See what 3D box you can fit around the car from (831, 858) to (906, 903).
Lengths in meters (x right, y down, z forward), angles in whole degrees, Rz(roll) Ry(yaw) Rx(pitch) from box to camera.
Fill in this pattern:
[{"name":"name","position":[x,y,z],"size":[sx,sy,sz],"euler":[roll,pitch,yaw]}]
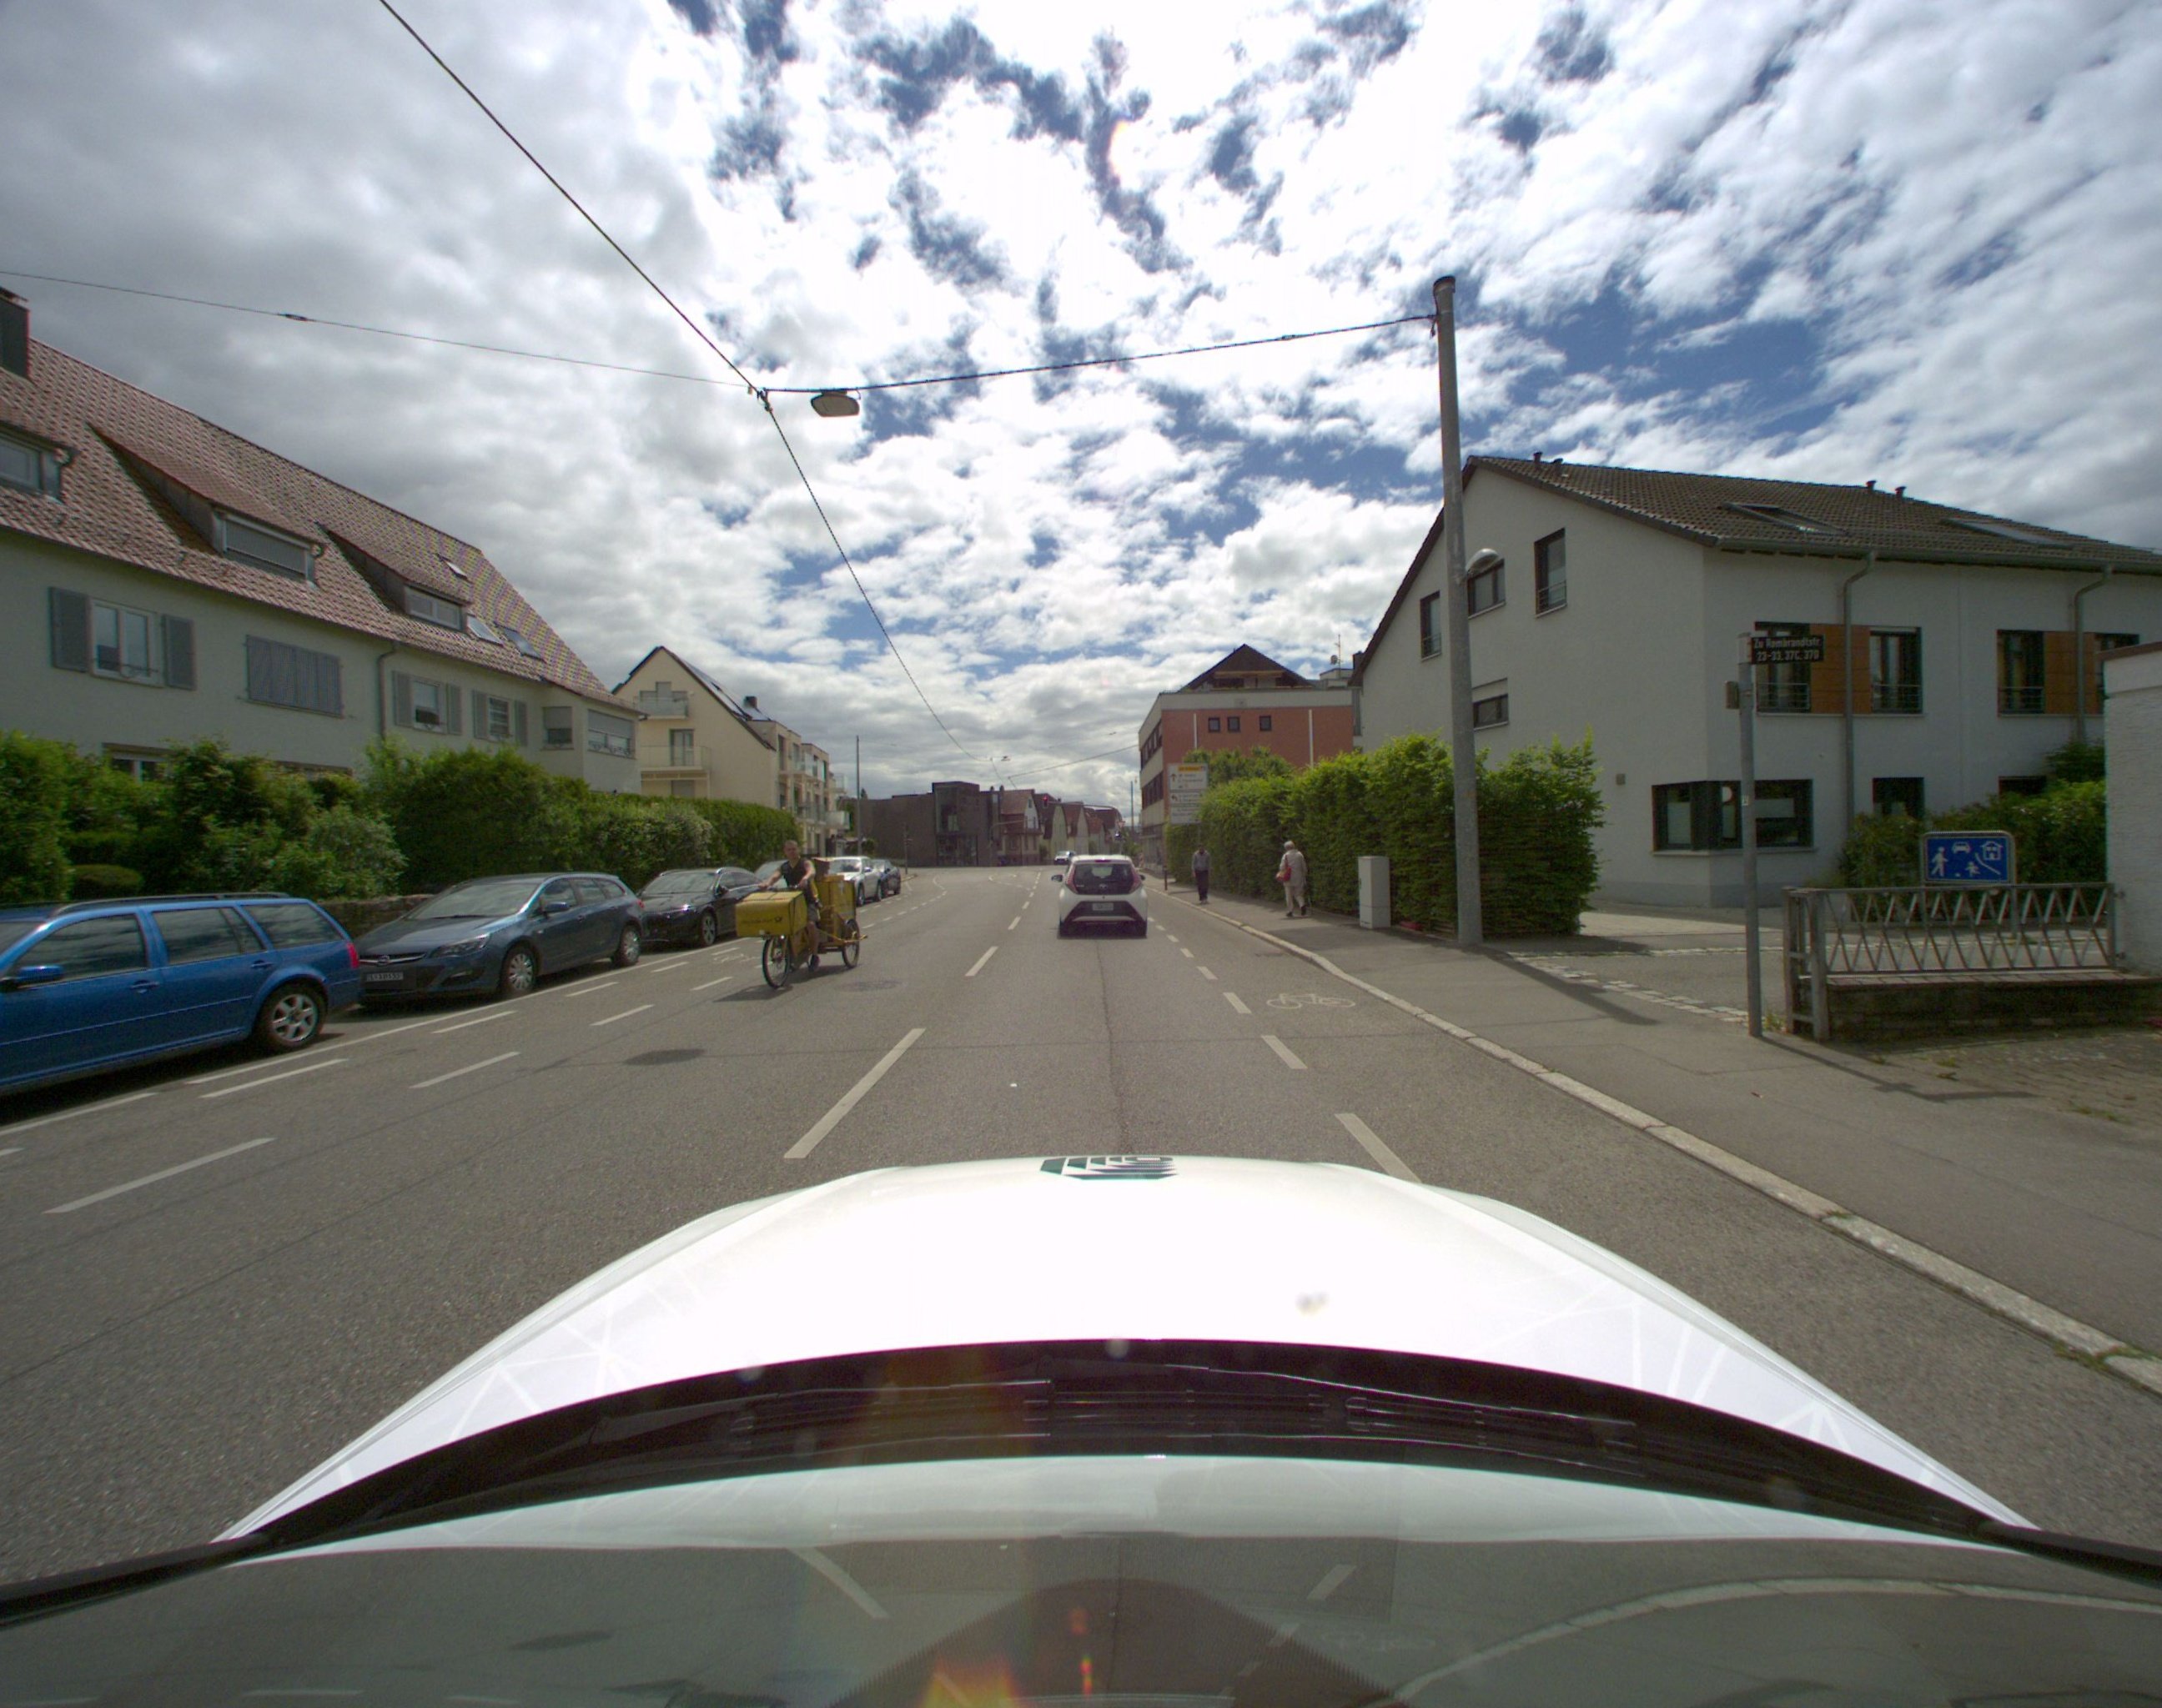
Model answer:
[{"name":"car","position":[-8.364,0.998,32.467],"size":[1.989,1.587,4.484],"euler":[-2,0,-3]}]

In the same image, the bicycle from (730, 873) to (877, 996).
[{"name":"bicycle","position":[-3.501,0.953,10.616],"size":[0.860,1.301,2.663],"euler":[-2,0,3]}]

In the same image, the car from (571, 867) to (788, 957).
[{"name":"car","position":[-7.864,1.054,16.571],"size":[1.987,1.408,4.690],"euler":[-2,0,1]}]

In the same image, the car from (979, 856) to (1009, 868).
[{"name":"car","position":[-11.764,1.102,110.368],"size":[3.592,1.605,1.696],"euler":[0,0,10]}]

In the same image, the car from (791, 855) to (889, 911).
[{"name":"car","position":[-7.970,0.886,27.434],"size":[1.988,1.650,4.515],"euler":[-2,0,-1]}]

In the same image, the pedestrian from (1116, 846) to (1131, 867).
[{"name":"pedestrian","position":[3.517,0.185,67.317],"size":[0.828,1.721,0.809],"euler":[-1,0,-33]}]

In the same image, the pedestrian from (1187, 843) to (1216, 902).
[{"name":"pedestrian","position":[3.379,0.511,22.813],"size":[0.600,1.605,0.836],"euler":[-3,0,0]}]

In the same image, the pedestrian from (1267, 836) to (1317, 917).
[{"name":"pedestrian","position":[4.389,0.450,16.994],"size":[0.796,1.617,0.653],"euler":[-3,0,0]}]

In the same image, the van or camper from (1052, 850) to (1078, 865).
[{"name":"van or camper","position":[-2.000,0.473,105.358],"size":[2.100,1.926,5.305],"euler":[0,0,14]}]

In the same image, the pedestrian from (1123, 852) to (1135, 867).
[{"name":"pedestrian","position":[3.900,0.433,66.688],"size":[0.738,1.221,0.639],"euler":[-1,0,-33]}]

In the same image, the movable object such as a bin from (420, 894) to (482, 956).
[{"name":"movable object such as a bin","position":[-10.826,1.213,14.016],"size":[0.575,1.002,0.635],"euler":[0,0,-4]}]

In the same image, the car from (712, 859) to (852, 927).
[{"name":"car","position":[-7.957,0.973,22.232],"size":[1.987,1.564,4.690],"euler":[-2,0,1]}]

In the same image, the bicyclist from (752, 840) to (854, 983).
[{"name":"bicyclist","position":[-3.542,0.699,10.494],"size":[0.789,1.713,1.210],"euler":[-2,0,3]}]

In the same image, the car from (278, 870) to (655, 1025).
[{"name":"car","position":[-7.738,1.040,10.974],"size":[1.774,1.491,4.560],"euler":[-2,0,-4]}]

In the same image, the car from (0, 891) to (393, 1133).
[{"name":"car","position":[-7.840,1.110,5.985],"size":[1.772,1.417,4.438],"euler":[-2,0,-1]}]

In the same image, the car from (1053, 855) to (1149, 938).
[{"name":"car","position":[0.350,0.745,15.971],"size":[1.692,1.456,3.298],"euler":[0,0,0]}]

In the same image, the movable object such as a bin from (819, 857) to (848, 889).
[{"name":"movable object such as a bin","position":[-12.113,0.922,39.850],"size":[1.063,1.482,1.213],"euler":[-2,0,-3]}]
